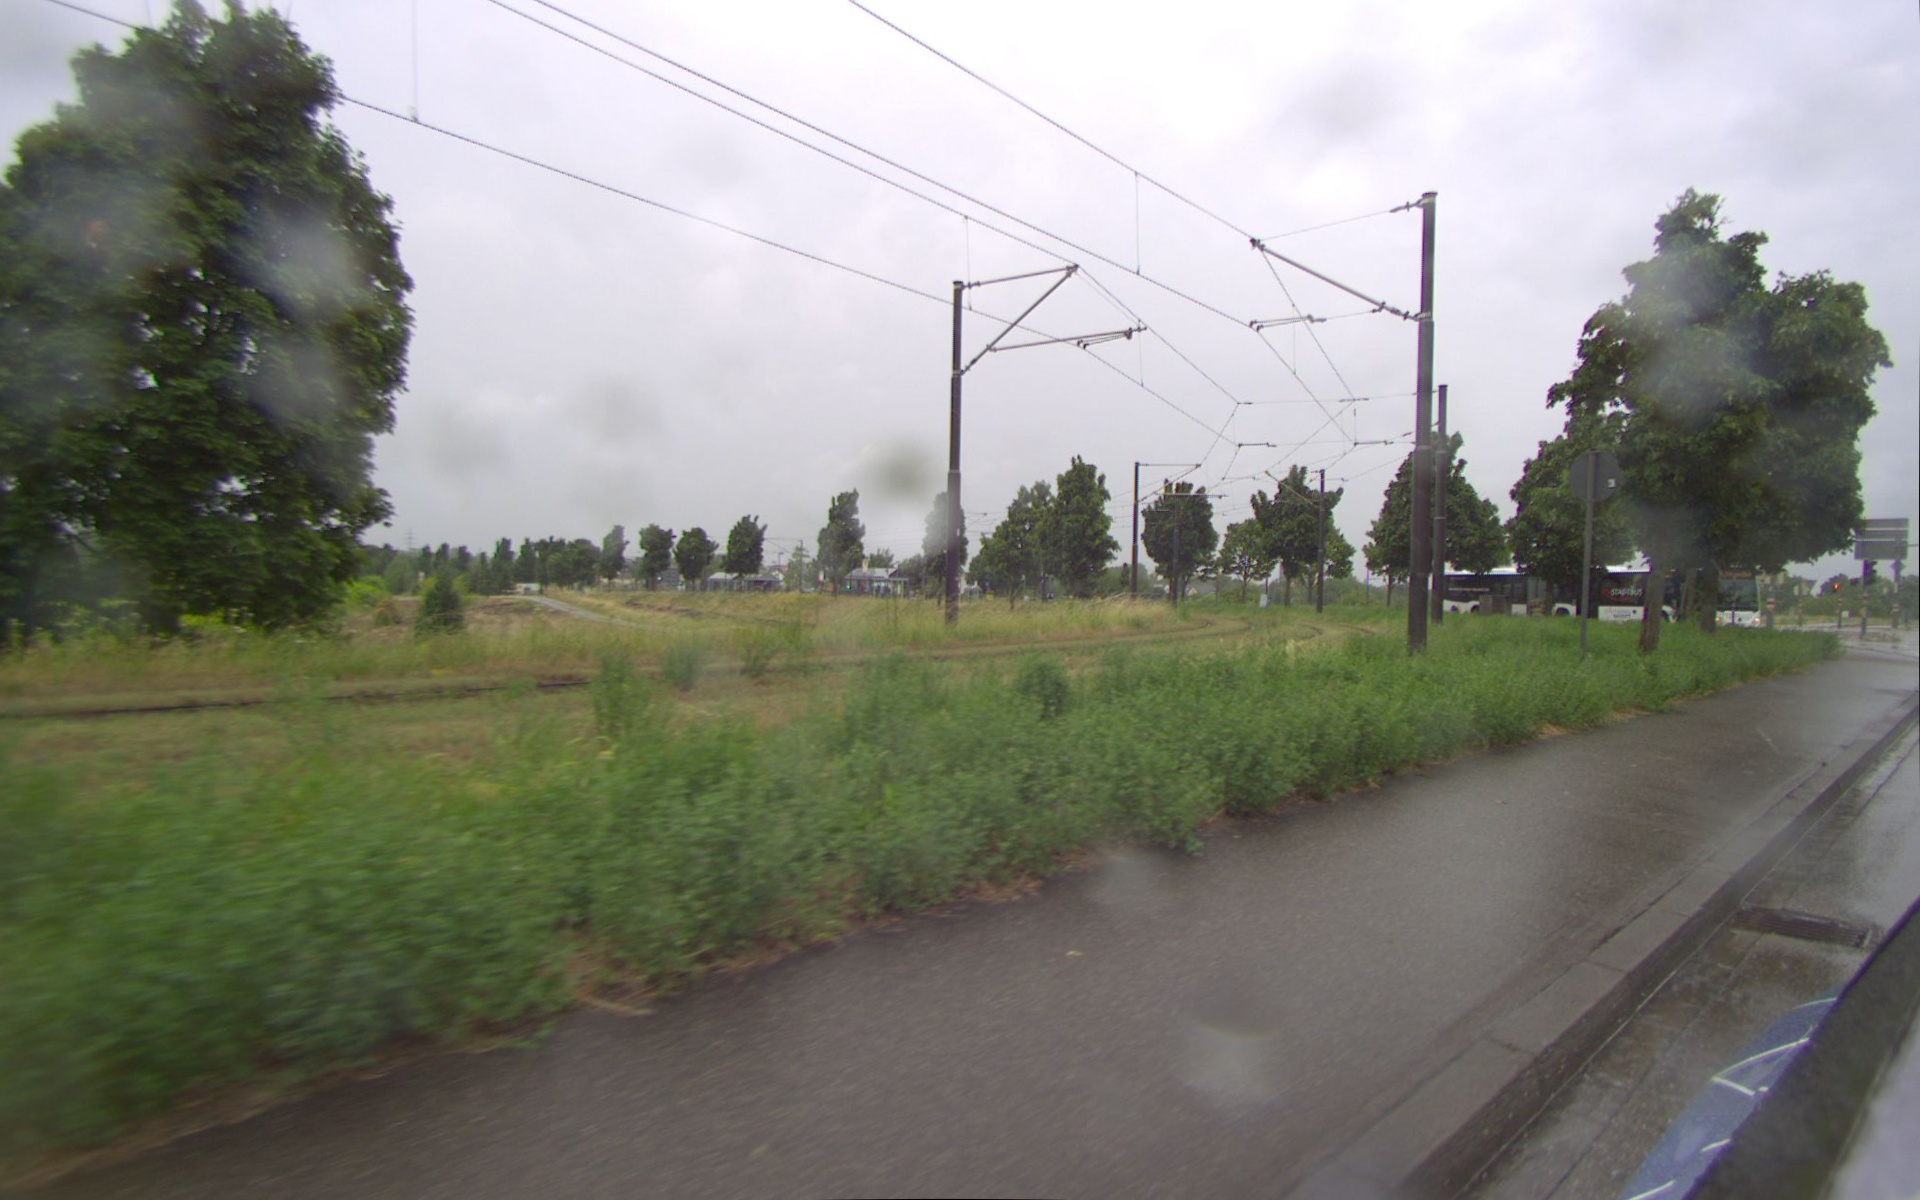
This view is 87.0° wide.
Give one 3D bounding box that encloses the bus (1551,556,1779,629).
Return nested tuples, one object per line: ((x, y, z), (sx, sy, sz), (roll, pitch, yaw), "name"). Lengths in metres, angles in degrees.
((32.818, -0.383, 47.891), (2.623, 3.116, 10.011), (0, 1, -9), "bus")

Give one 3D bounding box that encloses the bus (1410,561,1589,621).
((30.434, -0.535, 57.789), (2.622, 3.116, 10.016), (0, 1, -18), "bus")
